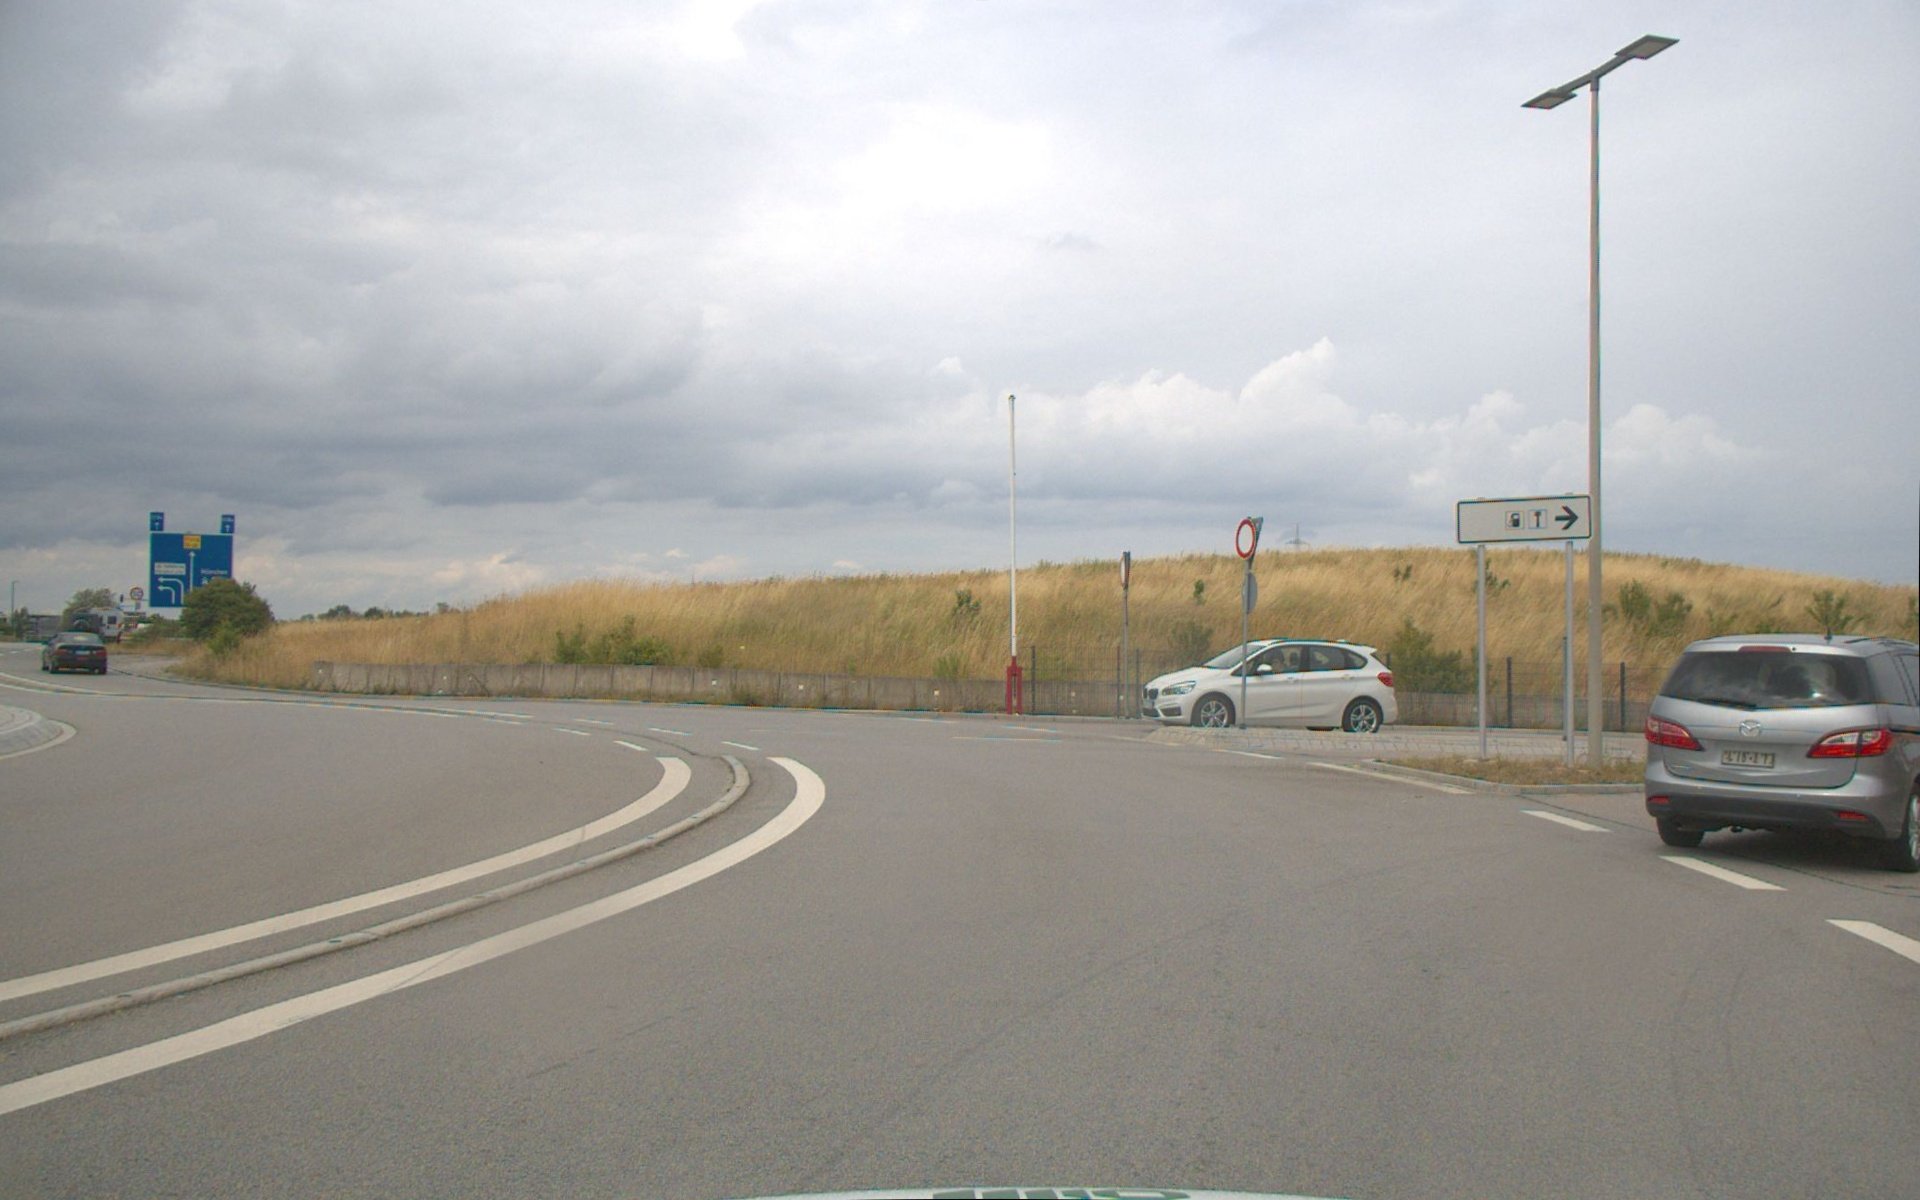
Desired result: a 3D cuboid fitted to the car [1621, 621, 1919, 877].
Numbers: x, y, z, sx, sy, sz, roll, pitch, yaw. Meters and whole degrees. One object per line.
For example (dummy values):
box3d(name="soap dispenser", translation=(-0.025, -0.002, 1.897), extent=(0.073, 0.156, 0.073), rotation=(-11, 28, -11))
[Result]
box3d(name="car", translation=(6.741, 1.052, 12.725), extent=(1.883, 1.601, 3.977), rotation=(1, -2, 41))

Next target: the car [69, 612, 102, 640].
box3d(name="car", translation=(-52.263, 1.533, 98.824), extent=(1.582, 1.576, 4.004), rotation=(0, 0, -30))

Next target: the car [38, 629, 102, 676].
box3d(name="car", translation=(-29.601, 1.741, 54.993), extent=(1.504, 1.512, 3.572), rotation=(2, -3, -34))

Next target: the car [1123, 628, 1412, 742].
box3d(name="car", translation=(5.086, 1.398, 27.526), extent=(4.336, 1.657, 1.779), rotation=(2, 0, -13))
